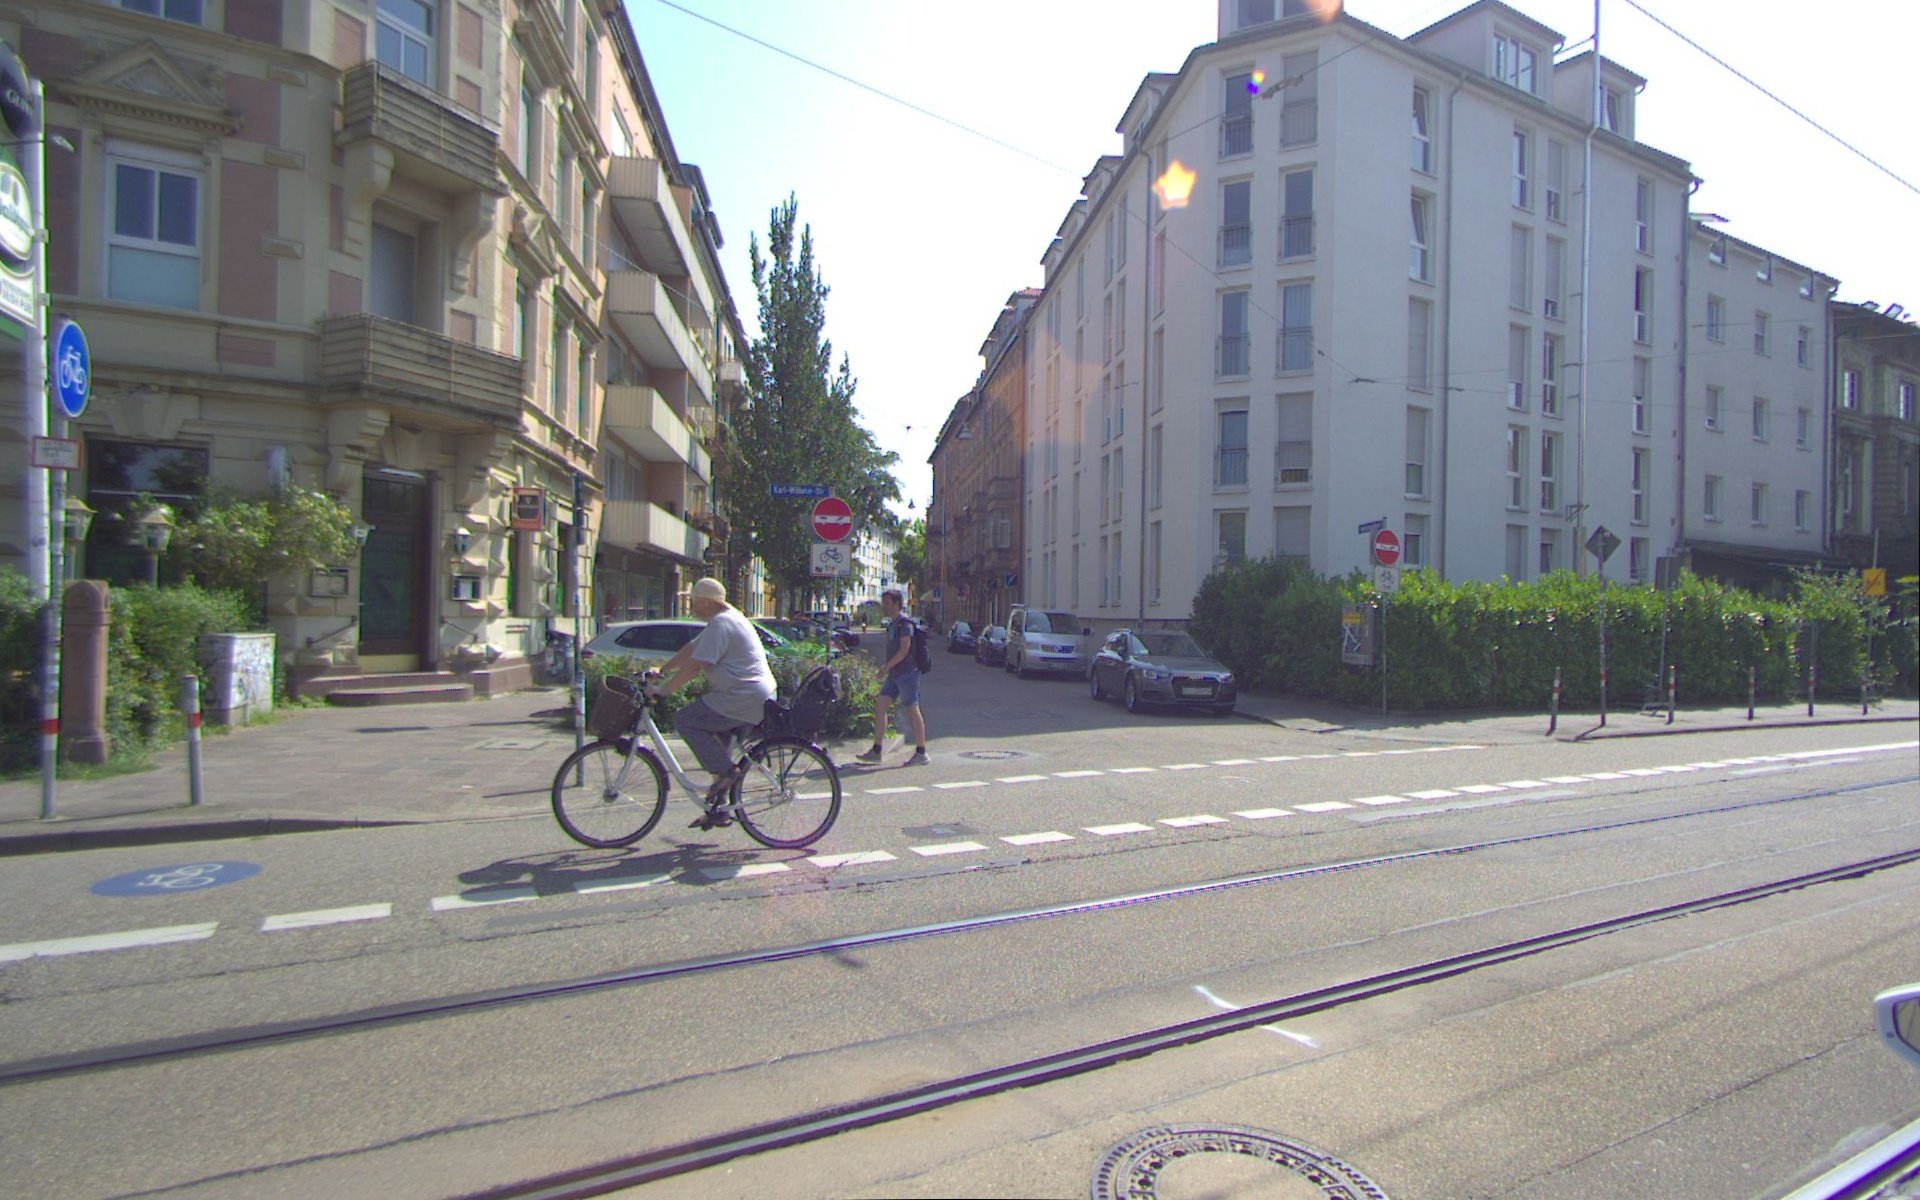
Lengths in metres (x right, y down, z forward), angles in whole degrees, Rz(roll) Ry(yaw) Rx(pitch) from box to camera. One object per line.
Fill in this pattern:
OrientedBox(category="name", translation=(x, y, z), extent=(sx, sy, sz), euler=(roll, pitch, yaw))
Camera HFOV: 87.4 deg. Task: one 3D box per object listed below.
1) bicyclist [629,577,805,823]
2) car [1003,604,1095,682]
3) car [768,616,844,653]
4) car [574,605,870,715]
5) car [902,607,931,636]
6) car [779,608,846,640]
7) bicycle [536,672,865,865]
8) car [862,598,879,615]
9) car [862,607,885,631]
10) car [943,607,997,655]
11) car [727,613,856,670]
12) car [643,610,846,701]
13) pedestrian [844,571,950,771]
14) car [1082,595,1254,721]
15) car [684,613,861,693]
OrientedBox(category="bicyclist", translation=(-1.484, 0.603, 6.278), extent=(0.956, 1.447, 0.657), euler=(1, -1, -5))
OrientedBox(category="car", translation=(2.474, 1.157, 28.767), extent=(1.855, 2.014, 3.996), euler=(2, 0, -6))
OrientedBox(category="car", translation=(-6.761, 1.493, 44.287), extent=(3.224, 1.476, 1.737), euler=(2, 0, -8))
OrientedBox(category="car", translation=(-3.454, 0.886, 15.219), extent=(4.068, 1.508, 1.998), euler=(1, -1, -8))
OrientedBox(category="car", translation=(-3.254, 1.543, 74.422), extent=(1.856, 2.014, 3.995), euler=(2, 0, -7))
OrientedBox(category="car", translation=(-8.150, 1.300, 55.557), extent=(3.542, 1.610, 1.737), euler=(2, 0, -8))
OrientedBox(category="bicycle", translation=(-1.557, 1.025, 6.273), extent=(1.879, 1.091, 0.642), euler=(1, -1, -4))
OrientedBox(category="car", translation=(-11.166, 0.774, 125.259), extent=(1.856, 2.014, 3.995), euler=(2, 0, -7))
OrientedBox(category="car", translation=(-7.679, 1.651, 89.126), extent=(1.962, 2.040, 3.997), euler=(2, 0, -5))
OrientedBox(category="car", translation=(0.402, 1.355, 45.262), extent=(1.856, 2.014, 3.995), euler=(2, 0, -7))
OrientedBox(category="car", translation=(-4.819, 1.185, 29.052), extent=(3.542, 1.476, 1.737), euler=(2, 0, -8))
OrientedBox(category="car", translation=(-4.122, 1.063, 19.651), extent=(3.671, 1.595, 1.737), euler=(2, 0, -8))
OrientedBox(category="pedestrian", translation=(-0.676, 0.735, 10.703), extent=(0.959, 2.040, 0.654), euler=(1, -1, -20))
OrientedBox(category="car", translation=(3.660, 0.967, 18.433), extent=(1.856, 2.014, 3.995), euler=(2, 0, -7))
OrientedBox(category="car", translation=(-4.088, 1.150, 22.317), extent=(3.671, 1.595, 1.737), euler=(2, 0, -8))
